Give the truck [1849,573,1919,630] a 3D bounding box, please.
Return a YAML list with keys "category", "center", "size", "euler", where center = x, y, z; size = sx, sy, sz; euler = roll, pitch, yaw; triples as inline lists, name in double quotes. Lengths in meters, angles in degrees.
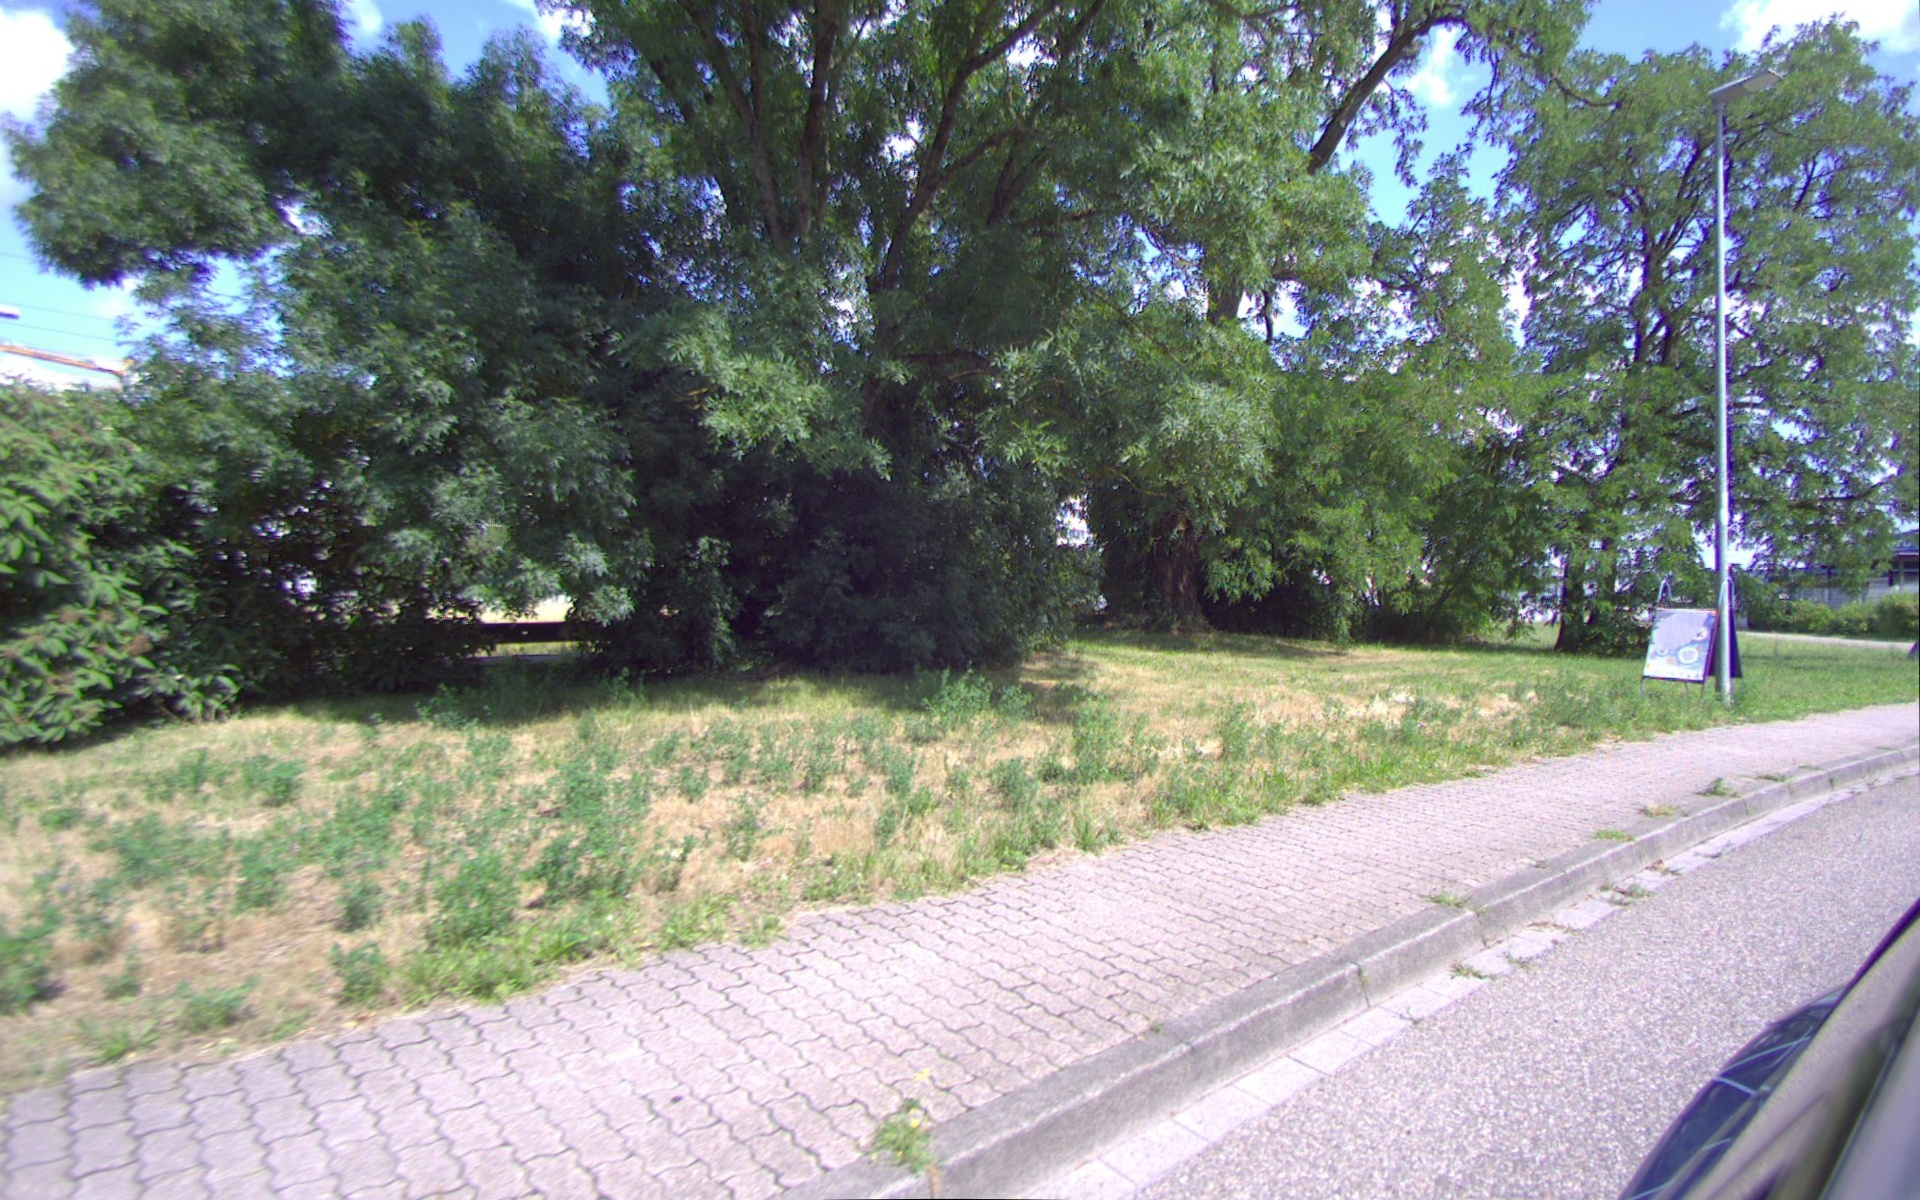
- category: "truck"
  center: [43.139, 0.048, 46.035]
  size: [1.970, 2.455, 4.725]
  euler: [0, 0, 13]
